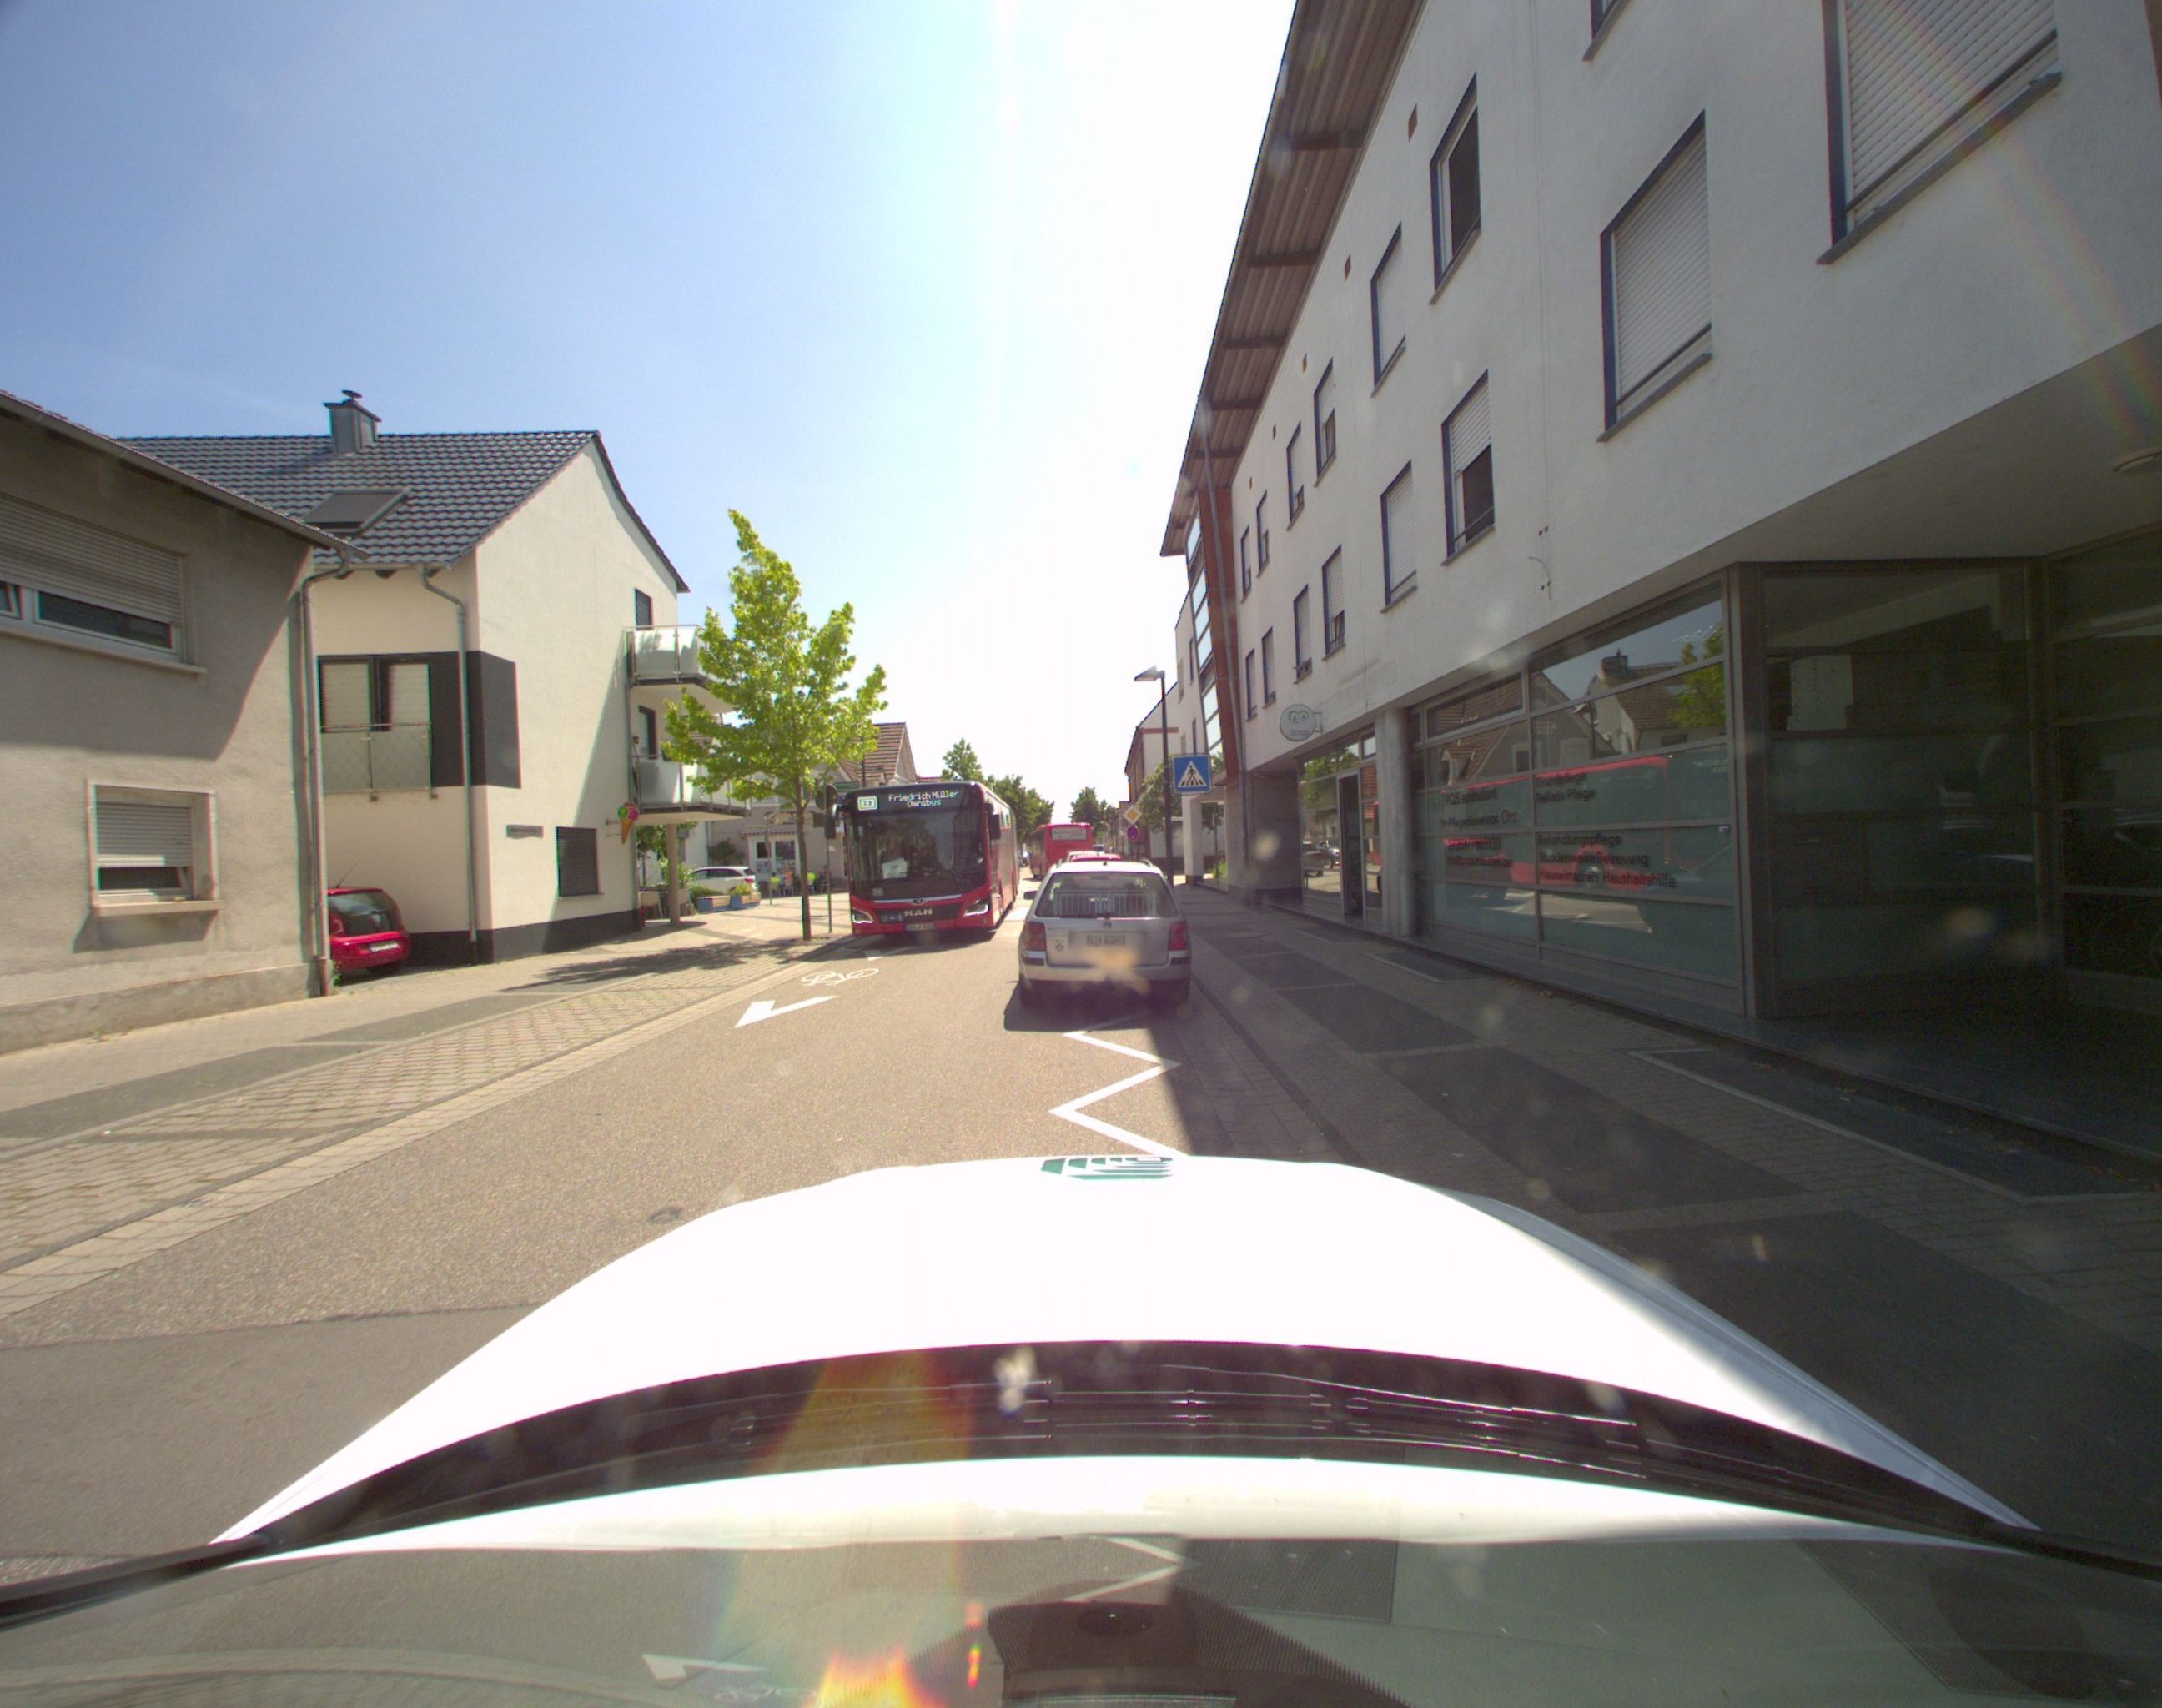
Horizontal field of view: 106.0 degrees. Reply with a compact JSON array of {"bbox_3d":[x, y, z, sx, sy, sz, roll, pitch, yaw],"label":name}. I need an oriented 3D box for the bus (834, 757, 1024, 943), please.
[{"bbox_3d":[-3.250,-0.078,23.027,2.662,3.123,17.789,-3,0,-2],"label":"bus"}]

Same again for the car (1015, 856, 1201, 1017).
[{"bbox_3d":[0.241,0.750,9.204,1.671,1.430,3.679,0,0,0],"label":"car"}]

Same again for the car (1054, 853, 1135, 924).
[{"bbox_3d":[0.278,0.733,19.304,1.672,1.430,3.679,-3,0,0],"label":"car"}]

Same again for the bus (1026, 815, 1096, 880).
[{"bbox_3d":[-1.435,-0.322,48.461,2.738,3.298,12.671,-2,0,-7],"label":"bus"}]

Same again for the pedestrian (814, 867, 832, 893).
[{"bbox_3d":[-12.296,1.251,38.882,0.621,1.179,0.695,-2,0,-5],"label":"pedestrian"}]

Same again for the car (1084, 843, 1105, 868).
[{"bbox_3d":[1.192,0.143,73.377,1.782,2.082,3.624,-2,0,-1],"label":"car"}]

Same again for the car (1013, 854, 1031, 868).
[{"bbox_3d":[-6.889,0.840,95.622,1.806,1.559,3.999,-2,0,0],"label":"car"}]

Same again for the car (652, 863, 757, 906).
[{"bbox_3d":[-16.309,1.302,35.470,3.926,1.545,1.509,-3,2,-17],"label":"car"}]

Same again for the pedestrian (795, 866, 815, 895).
[{"bbox_3d":[-12.777,1.211,37.705,0.639,1.289,0.780,0,-1,-44],"label":"pedestrian"}]

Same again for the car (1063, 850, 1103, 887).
[{"bbox_3d":[0.110,0.580,34.591,1.588,1.430,3.680,-1,0,1],"label":"car"}]

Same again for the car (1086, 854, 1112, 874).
[{"bbox_3d":[1.232,0.683,58.009,1.714,1.309,3.624,-2,0,-1],"label":"car"}]

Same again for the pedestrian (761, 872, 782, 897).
[{"bbox_3d":[-14.102,1.392,37.133,0.639,1.116,0.780,0,-1,-44],"label":"pedestrian"}]

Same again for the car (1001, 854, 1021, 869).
[{"bbox_3d":[-7.645,0.834,89.209,1.806,1.559,3.999,-2,0,0],"label":"car"}]

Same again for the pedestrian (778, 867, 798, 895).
[{"bbox_3d":[-13.695,1.238,38.033,0.639,1.289,0.780,0,-1,-44],"label":"pedestrian"}]

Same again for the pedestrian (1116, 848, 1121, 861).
[{"bbox_3d":[4.708,0.054,102.368,0.604,1.667,0.789,-2,0,-2],"label":"pedestrian"}]

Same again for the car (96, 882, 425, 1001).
[{"bbox_3d":[-12.105,1.236,12.208,3.110,1.443,1.584,-3,0,-6],"label":"car"}]

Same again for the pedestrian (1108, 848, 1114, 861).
[{"bbox_3d":[3.712,0.085,101.890,0.604,1.667,0.789,-2,0,-2],"label":"pedestrian"}]

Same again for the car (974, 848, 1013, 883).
[{"bbox_3d":[-4.670,0.589,43.934,1.670,1.716,4.230,-2,0,-1],"label":"car"}]
